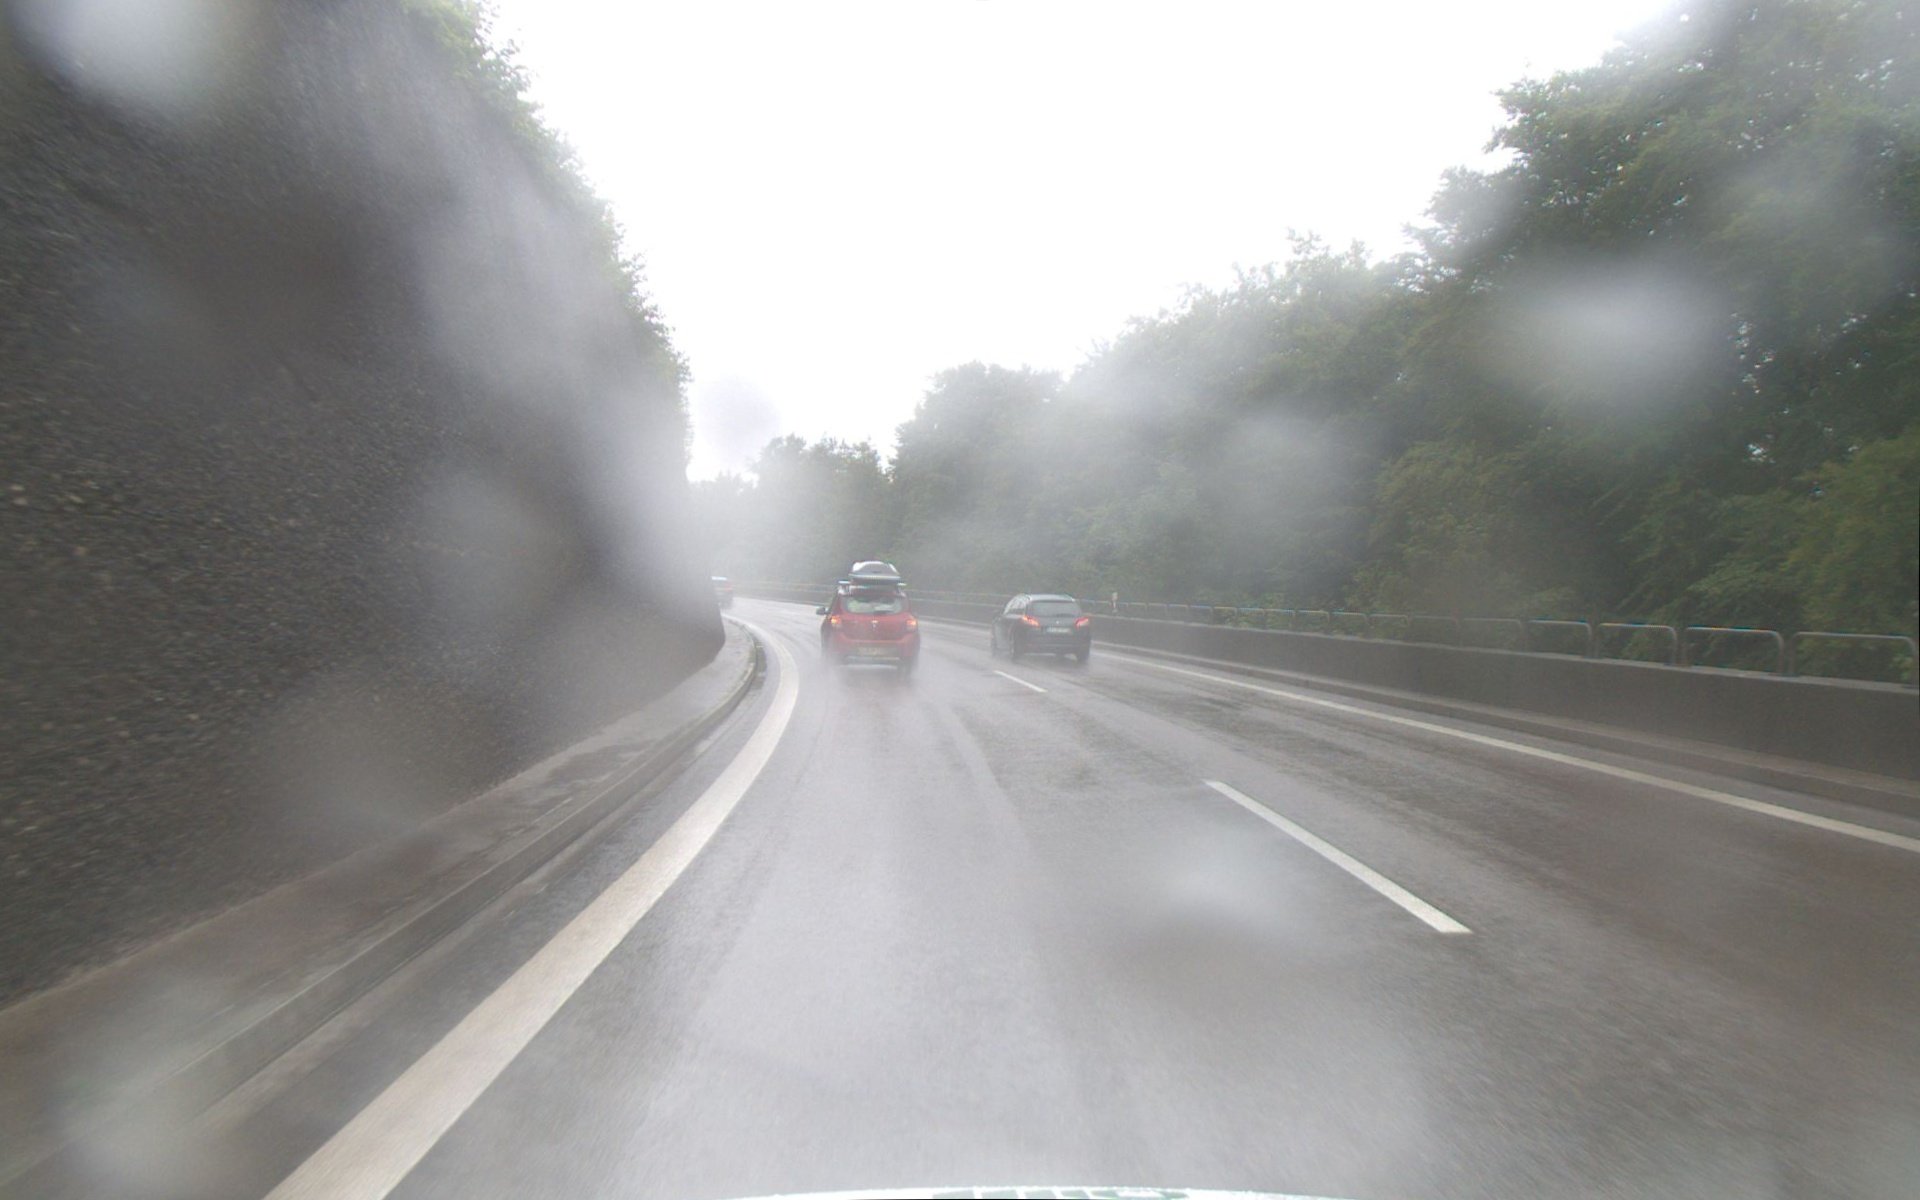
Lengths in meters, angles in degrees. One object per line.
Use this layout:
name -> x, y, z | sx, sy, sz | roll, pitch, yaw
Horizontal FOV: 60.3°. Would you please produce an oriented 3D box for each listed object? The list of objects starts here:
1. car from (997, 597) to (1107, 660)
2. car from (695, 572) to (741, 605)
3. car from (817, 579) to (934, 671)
car -> 2.039, 0.618, 37.794 | 1.767, 1.330, 3.993 | 1, 0, -8
car -> -13.629, -0.636, 93.008 | 1.962, 1.713, 3.980 | 2, -1, -17
car -> -1.663, 0.447, 31.246 | 1.955, 1.579, 3.994 | 1, 0, -6
